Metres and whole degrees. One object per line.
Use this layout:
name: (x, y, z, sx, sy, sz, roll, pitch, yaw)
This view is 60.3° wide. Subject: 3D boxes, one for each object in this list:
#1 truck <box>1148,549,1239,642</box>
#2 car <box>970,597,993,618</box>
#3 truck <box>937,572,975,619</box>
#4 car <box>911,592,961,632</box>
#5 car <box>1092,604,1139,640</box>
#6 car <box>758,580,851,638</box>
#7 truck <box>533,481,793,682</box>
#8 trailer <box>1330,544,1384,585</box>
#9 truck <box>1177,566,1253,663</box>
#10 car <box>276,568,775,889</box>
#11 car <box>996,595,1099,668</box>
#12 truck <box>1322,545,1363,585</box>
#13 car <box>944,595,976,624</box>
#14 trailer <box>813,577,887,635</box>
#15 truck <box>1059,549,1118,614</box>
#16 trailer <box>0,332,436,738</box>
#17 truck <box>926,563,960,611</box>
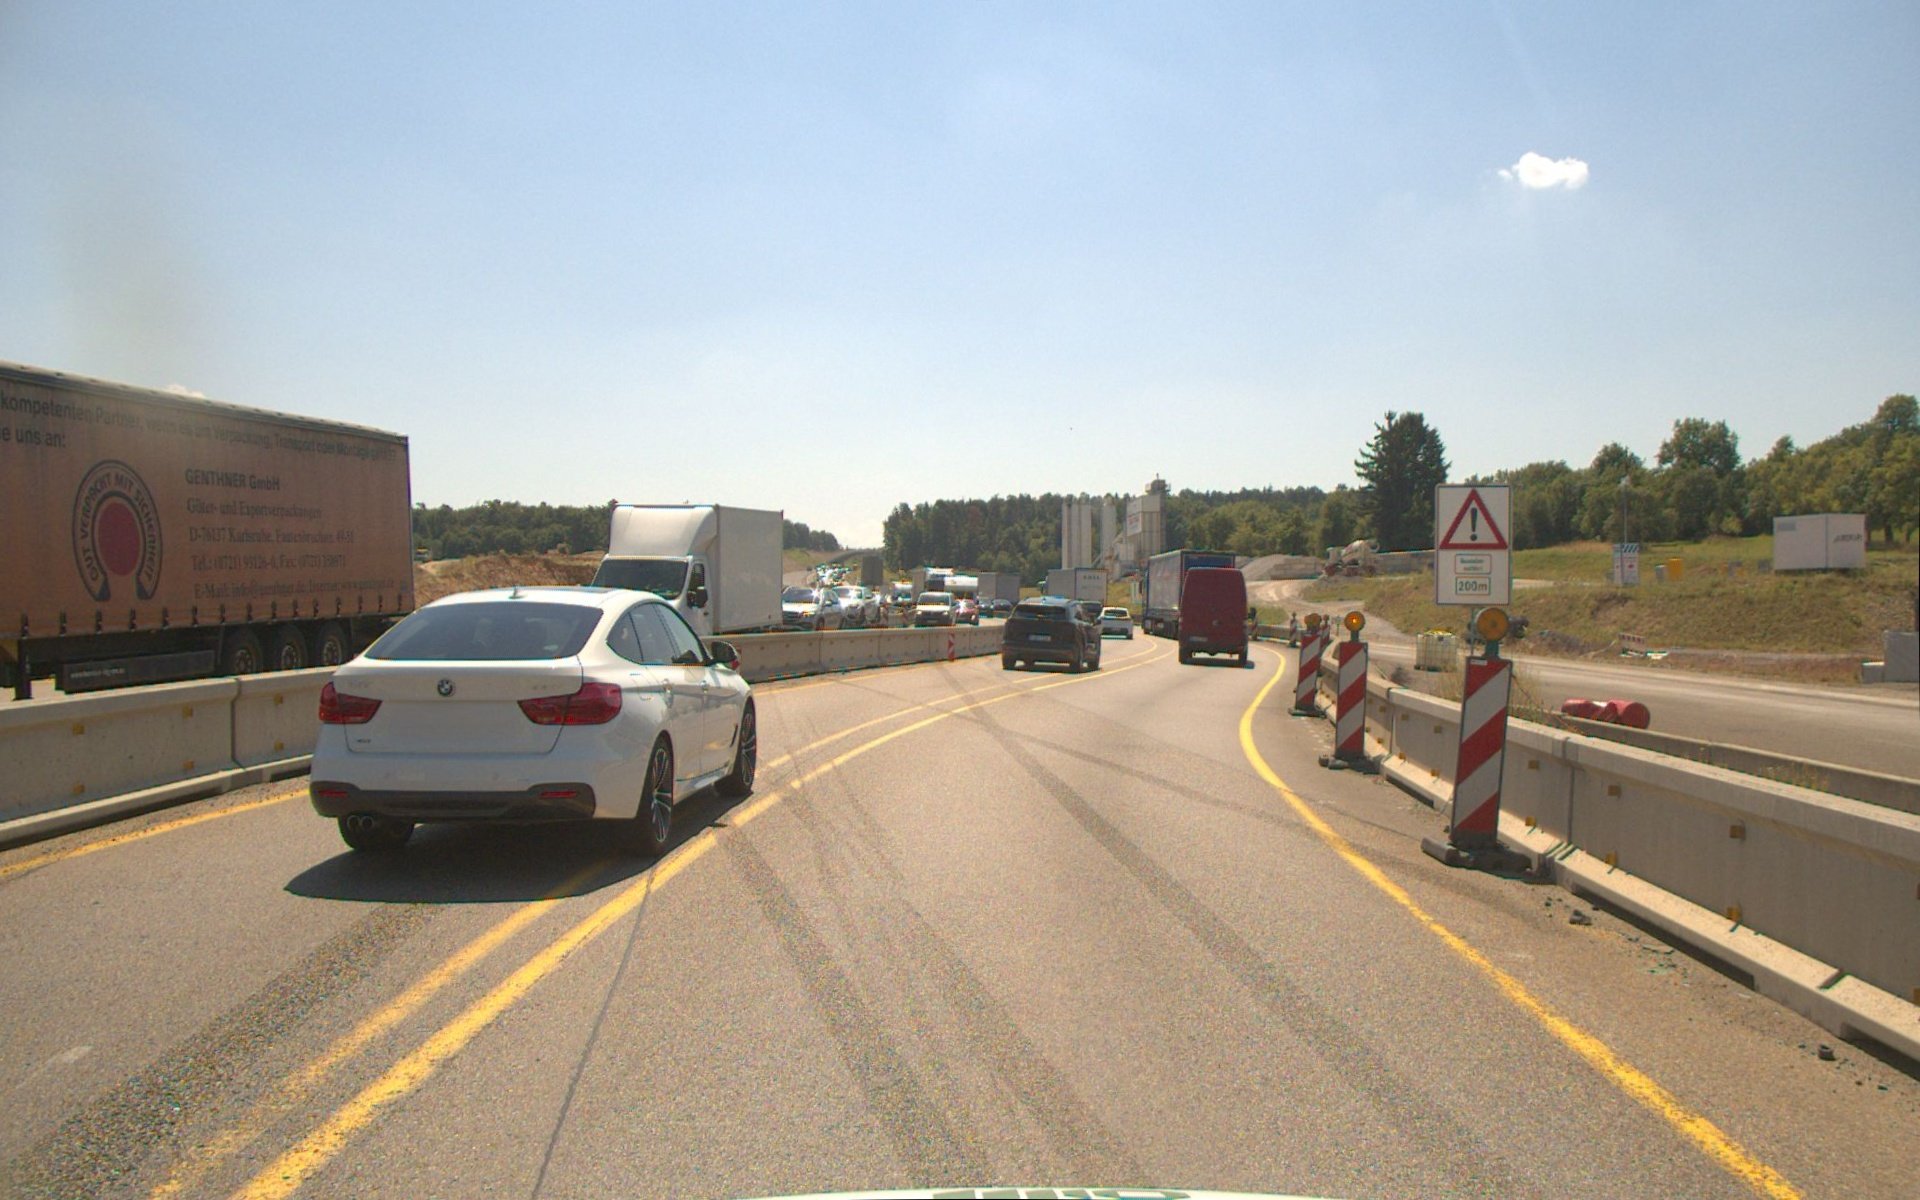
truck: (11.123, -0.240, 79.649, 2.954, 4.225, 8.269, 0, 0, -2)
car: (1.770, 0.596, 135.471, 1.625, 1.633, 4.398, 0, 0, 3)
truck: (-0.335, -0.317, 113.682, 2.392, 3.125, 7.245, 0, 0, -2)
car: (-1.188, 0.569, 85.070, 1.826, 1.987, 4.896, 0, 0, 8)
car: (7.246, 0.993, 77.187, 1.765, 1.607, 3.999, 0, 0, -1)
car: (-5.168, 0.288, 55.588, 1.826, 1.838, 4.911, -1, 0, 10)
truck: (-5.473, -0.333, 31.838, 2.524, 3.440, 6.934, 0, 0, 11)
trailer: (41.408, -3.649, 172.623, 2.710, 4.186, 6.719, 0, 0, -15)
truck: (7.555, 0.380, 48.845, 2.066, 2.679, 6.490, 0, 0, 9)
car: (-2.453, 0.629, 10.786, 1.758, 1.561, 5.074, 1, 0, 2)
car: (2.075, 0.679, 38.080, 1.757, 1.561, 3.934, 0, 0, 12)
truck: (40.603, -3.667, 175.738, 2.699, 4.167, 4.084, 0, 0, -15)
car: (0.021, 0.559, 97.395, 1.684, 1.656, 4.337, 0, 0, 2)
trailer: (-4.071, 0.202, 61.900, 1.826, 2.057, 4.440, 0, 0, 9)
truck: (9.851, -1.405, 128.199, 3.609, 4.773, 9.750, 0, 0, -1)
trailer: (-10.843, -0.697, 22.112, 2.532, 4.224, 13.072, 0, 0, 5)
truck: (-1.456, -1.136, 144.450, 2.645, 4.133, 5.502, 0, 0, 2)
